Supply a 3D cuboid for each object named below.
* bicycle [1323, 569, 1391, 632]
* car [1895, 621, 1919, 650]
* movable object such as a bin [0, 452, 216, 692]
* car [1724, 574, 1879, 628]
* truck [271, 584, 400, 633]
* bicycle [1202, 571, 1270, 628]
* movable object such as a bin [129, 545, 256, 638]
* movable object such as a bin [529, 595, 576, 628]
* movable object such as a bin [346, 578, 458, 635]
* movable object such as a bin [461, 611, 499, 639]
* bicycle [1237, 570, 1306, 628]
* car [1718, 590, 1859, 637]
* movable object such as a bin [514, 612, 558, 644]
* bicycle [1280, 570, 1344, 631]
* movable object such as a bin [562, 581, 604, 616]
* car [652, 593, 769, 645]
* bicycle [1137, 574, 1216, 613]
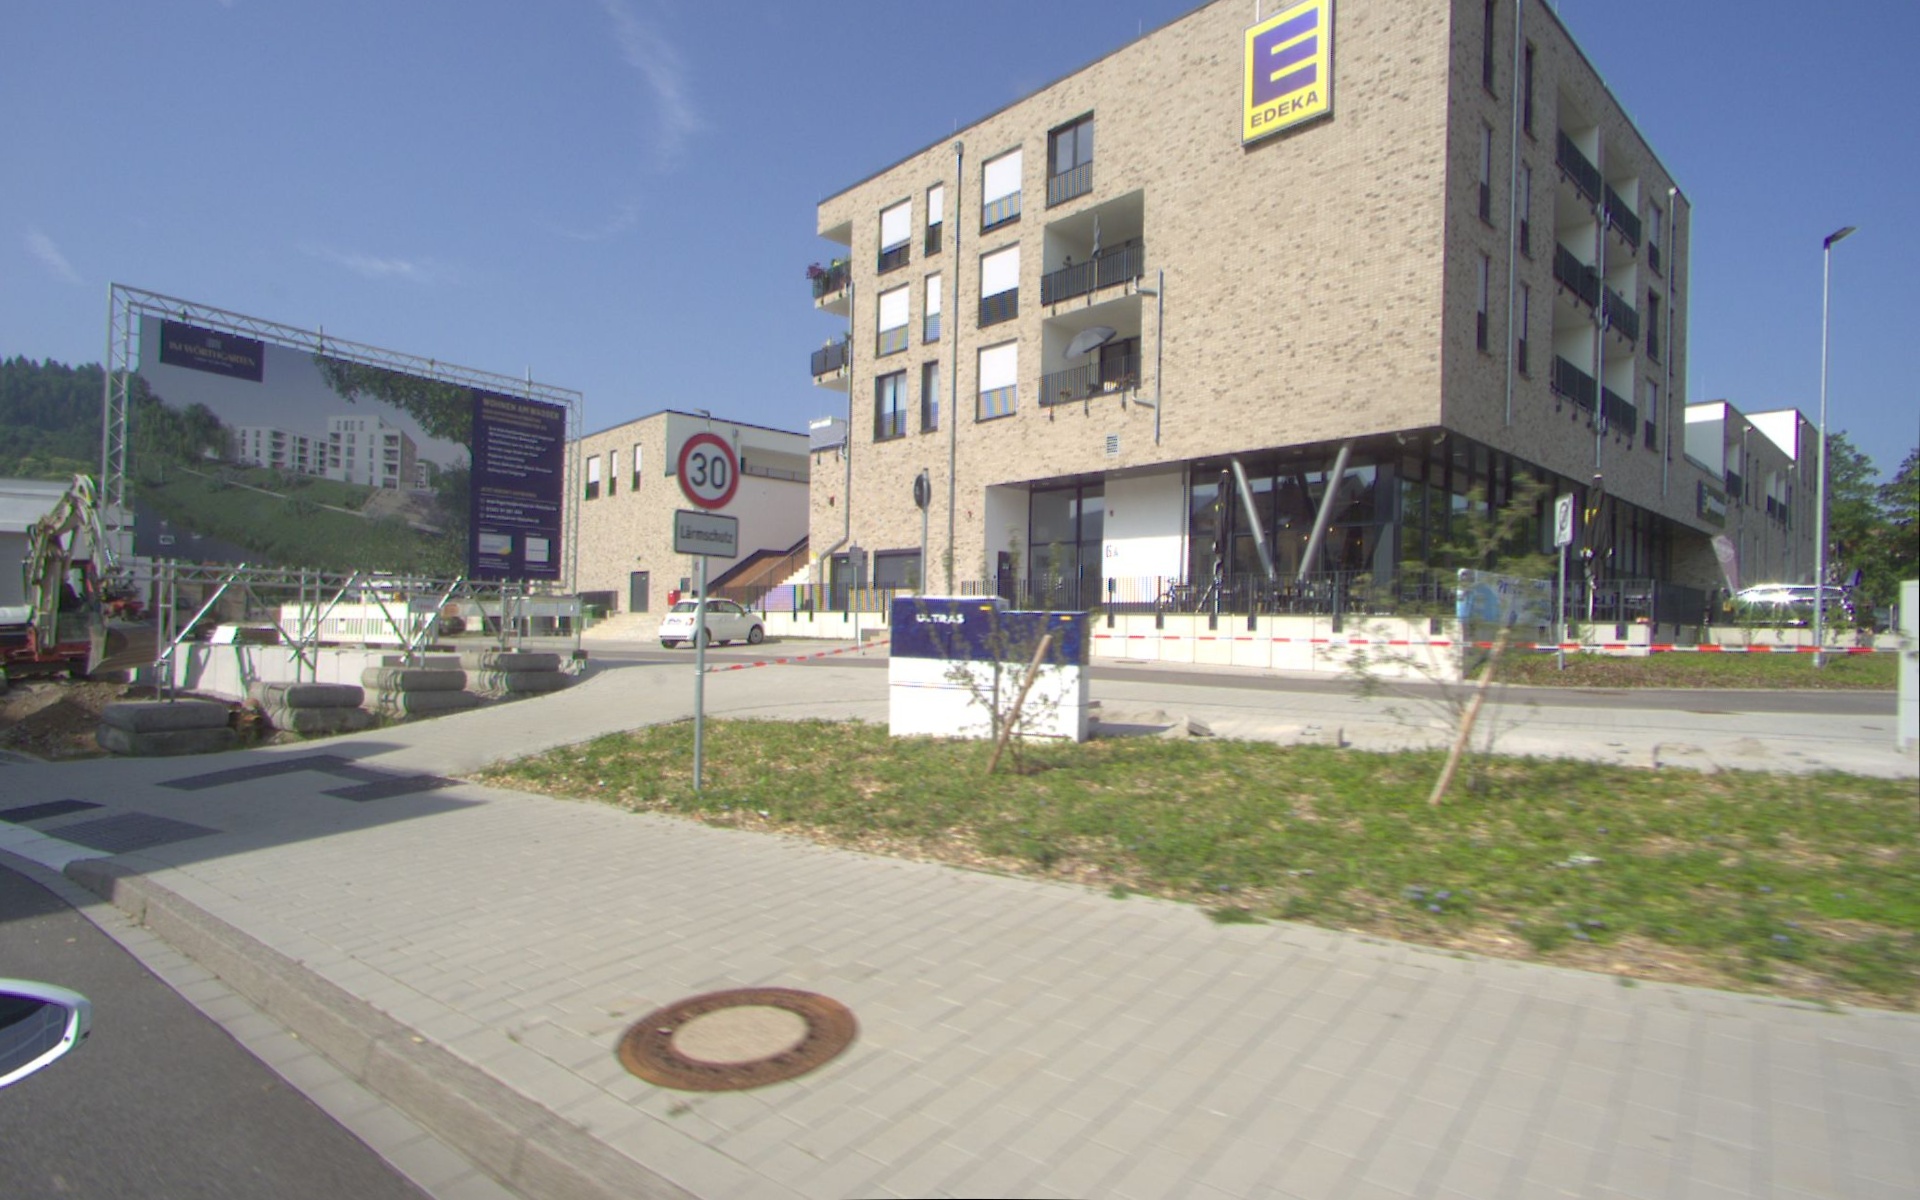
[{"bbox_3d":[8.576,0.034,21.591,0.845,1.158,2.234,2,-3,35],"label":"bicycle"},{"bbox_3d":[48.316,1.798,49.247,3.292,1.367,1.617,1,-4,40],"label":"car"},{"bbox_3d":[-17.310,-0.351,19.471,7.698,3.900,2.289,0,-4,37],"label":"movable object such as a bin"},{"bbox_3d":[23.846,0.037,28.457,3.294,1.367,1.480,1,-4,42],"label":"car"},{"bbox_3d":[-30.409,0.434,48.923,5.258,2.295,2.206,0,-1,-32],"label":"truck"},{"bbox_3d":[6.590,0.002,23.810,0.845,1.158,2.234,2,-3,35],"label":"bicycle"},{"bbox_3d":[-33.871,-0.255,44.445,2.814,3.666,5.720,4,-3,-22],"label":"movable object such as a bin"},{"bbox_3d":[-19.900,0.562,48.913,1.305,1.482,1.686,1,-4,43],"label":"movable object such as a bin"},{"bbox_3d":[-26.329,0.334,47.294,4.564,2.603,1.914,0,-1,-32],"label":"movable object such as a bin"},{"bbox_3d":[-24.349,1.267,50.835,1.305,1.283,1.290,1,-4,43],"label":"movable object such as a bin"},{"bbox_3d":[7.180,-0.007,23.009,0.845,1.158,2.234,2,-3,35],"label":"bicycle"},{"bbox_3d":[26.812,0.429,32.459,1.476,1.367,3.303,5,-4,-40],"label":"car"},{"bbox_3d":[-21.067,1.403,49.771,1.305,1.482,1.573,1,-3,43],"label":"movable object such as a bin"},{"bbox_3d":[7.835,0.032,22.207,0.756,1.158,2.234,2,-3,35],"label":"bicycle"},{"bbox_3d":[-17.508,-0.064,46.486,1.305,1.482,1.293,1,-3,43],"label":"movable object such as a bin"},{"bbox_3d":[-7.723,0.610,31.225,1.572,1.514,3.399,-1,-2,32],"label":"car"},{"bbox_3d":[6.310,-0.178,29.256,0.687,1.058,2.223,5,-4,-43],"label":"bicycle"}]
